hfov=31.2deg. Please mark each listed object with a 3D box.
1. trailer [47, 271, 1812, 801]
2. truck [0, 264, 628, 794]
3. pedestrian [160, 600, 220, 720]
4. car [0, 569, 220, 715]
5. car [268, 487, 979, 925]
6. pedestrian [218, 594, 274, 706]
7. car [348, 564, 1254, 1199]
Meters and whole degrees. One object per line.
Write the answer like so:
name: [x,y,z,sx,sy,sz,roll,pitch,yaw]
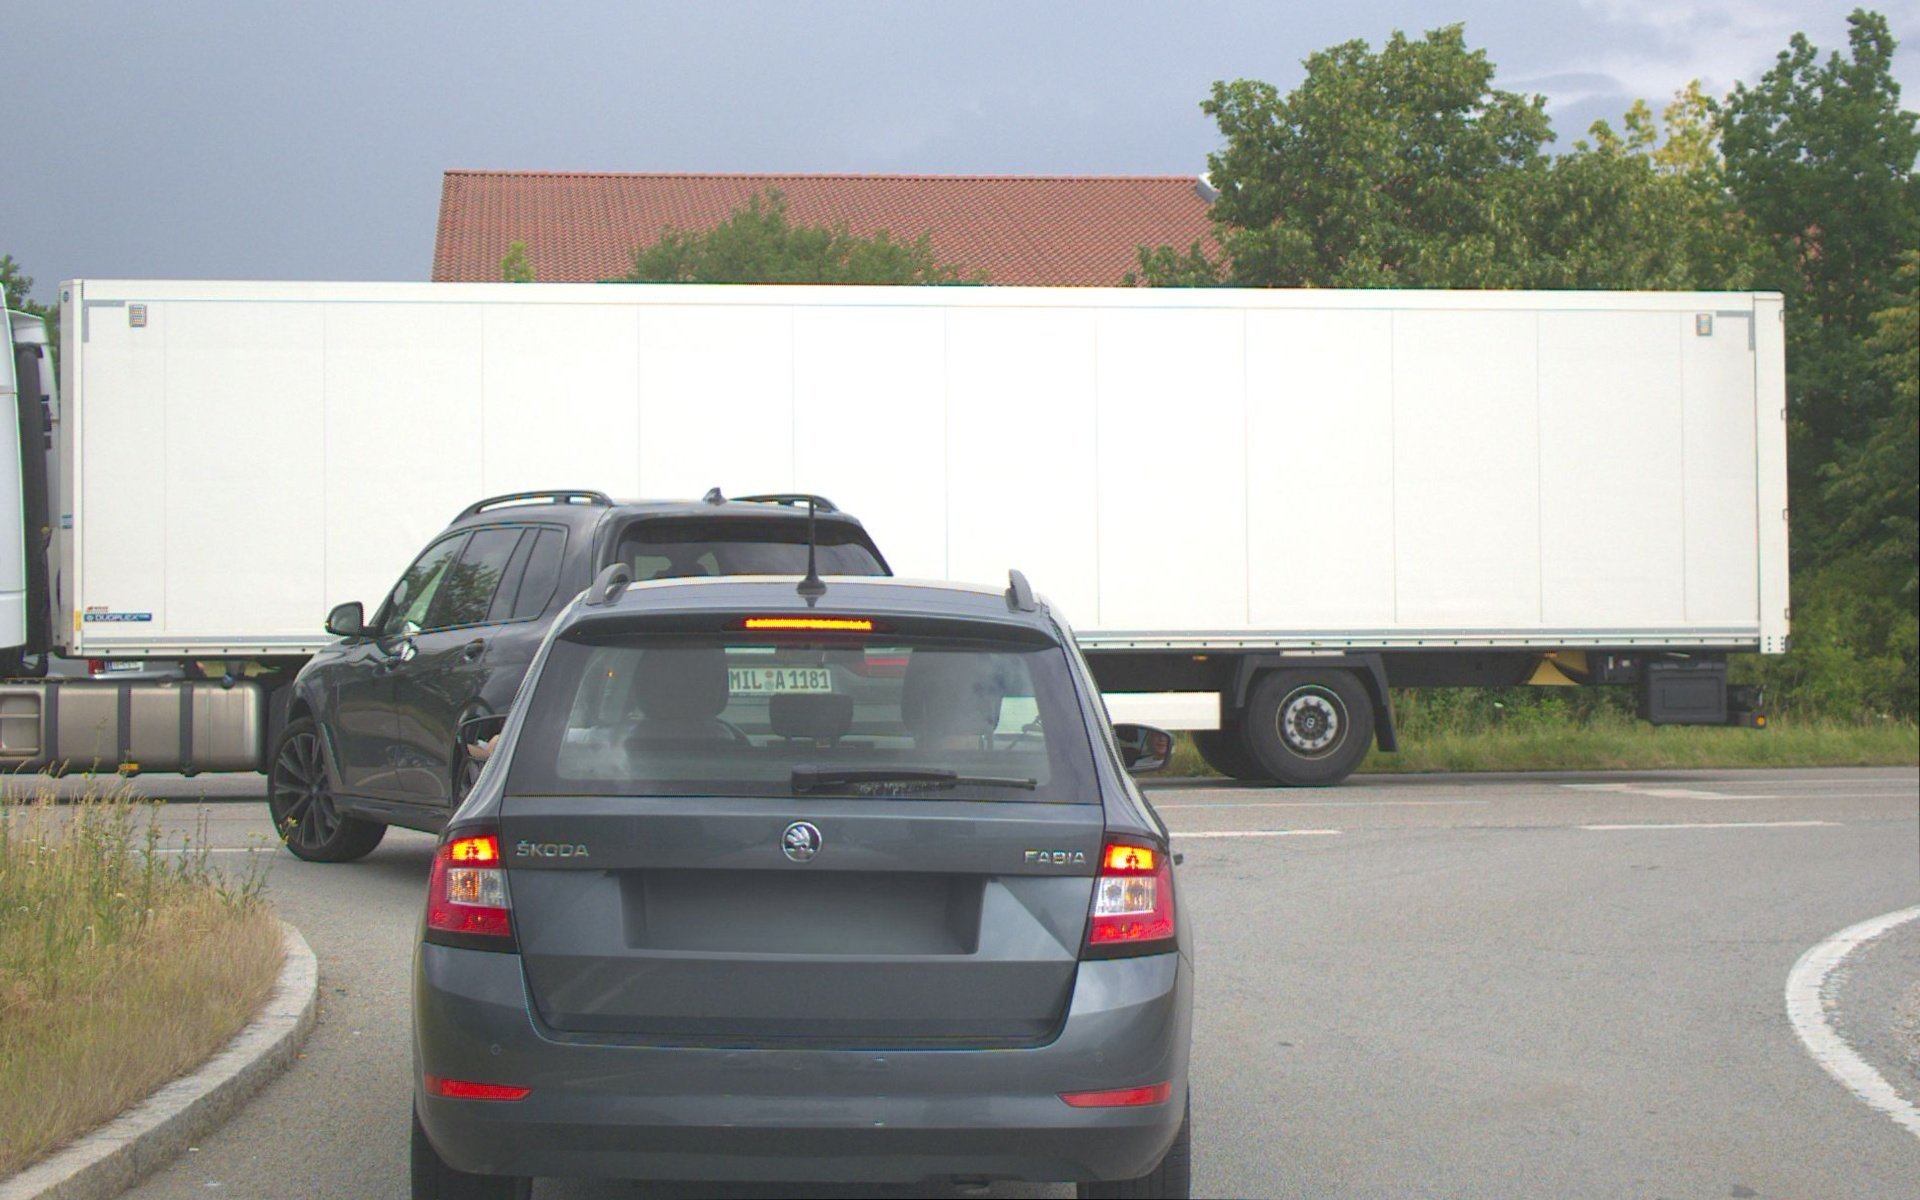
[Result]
trailer: [-0.224,-0.518,28.391,13.838,4.001,3.129,0,-1,-7]
truck: [-6.391,-0.521,27.597,7.281,4.001,3.129,0,-1,-7]
pedestrian: [-11.247,0.873,50.231,0.529,1.720,0.640,0,1,31]
car: [-13.560,0.591,50.667,4.907,2.007,2.338,0,2,32]
car: [-1.784,0.439,16.420,1.993,1.768,4.645,0,0,-24]
pedestrian: [-10.795,0.752,51.972,0.584,1.677,0.565,-1,1,19]
car: [-0.397,0.664,8.255,1.676,1.457,3.708,0,1,-3]
